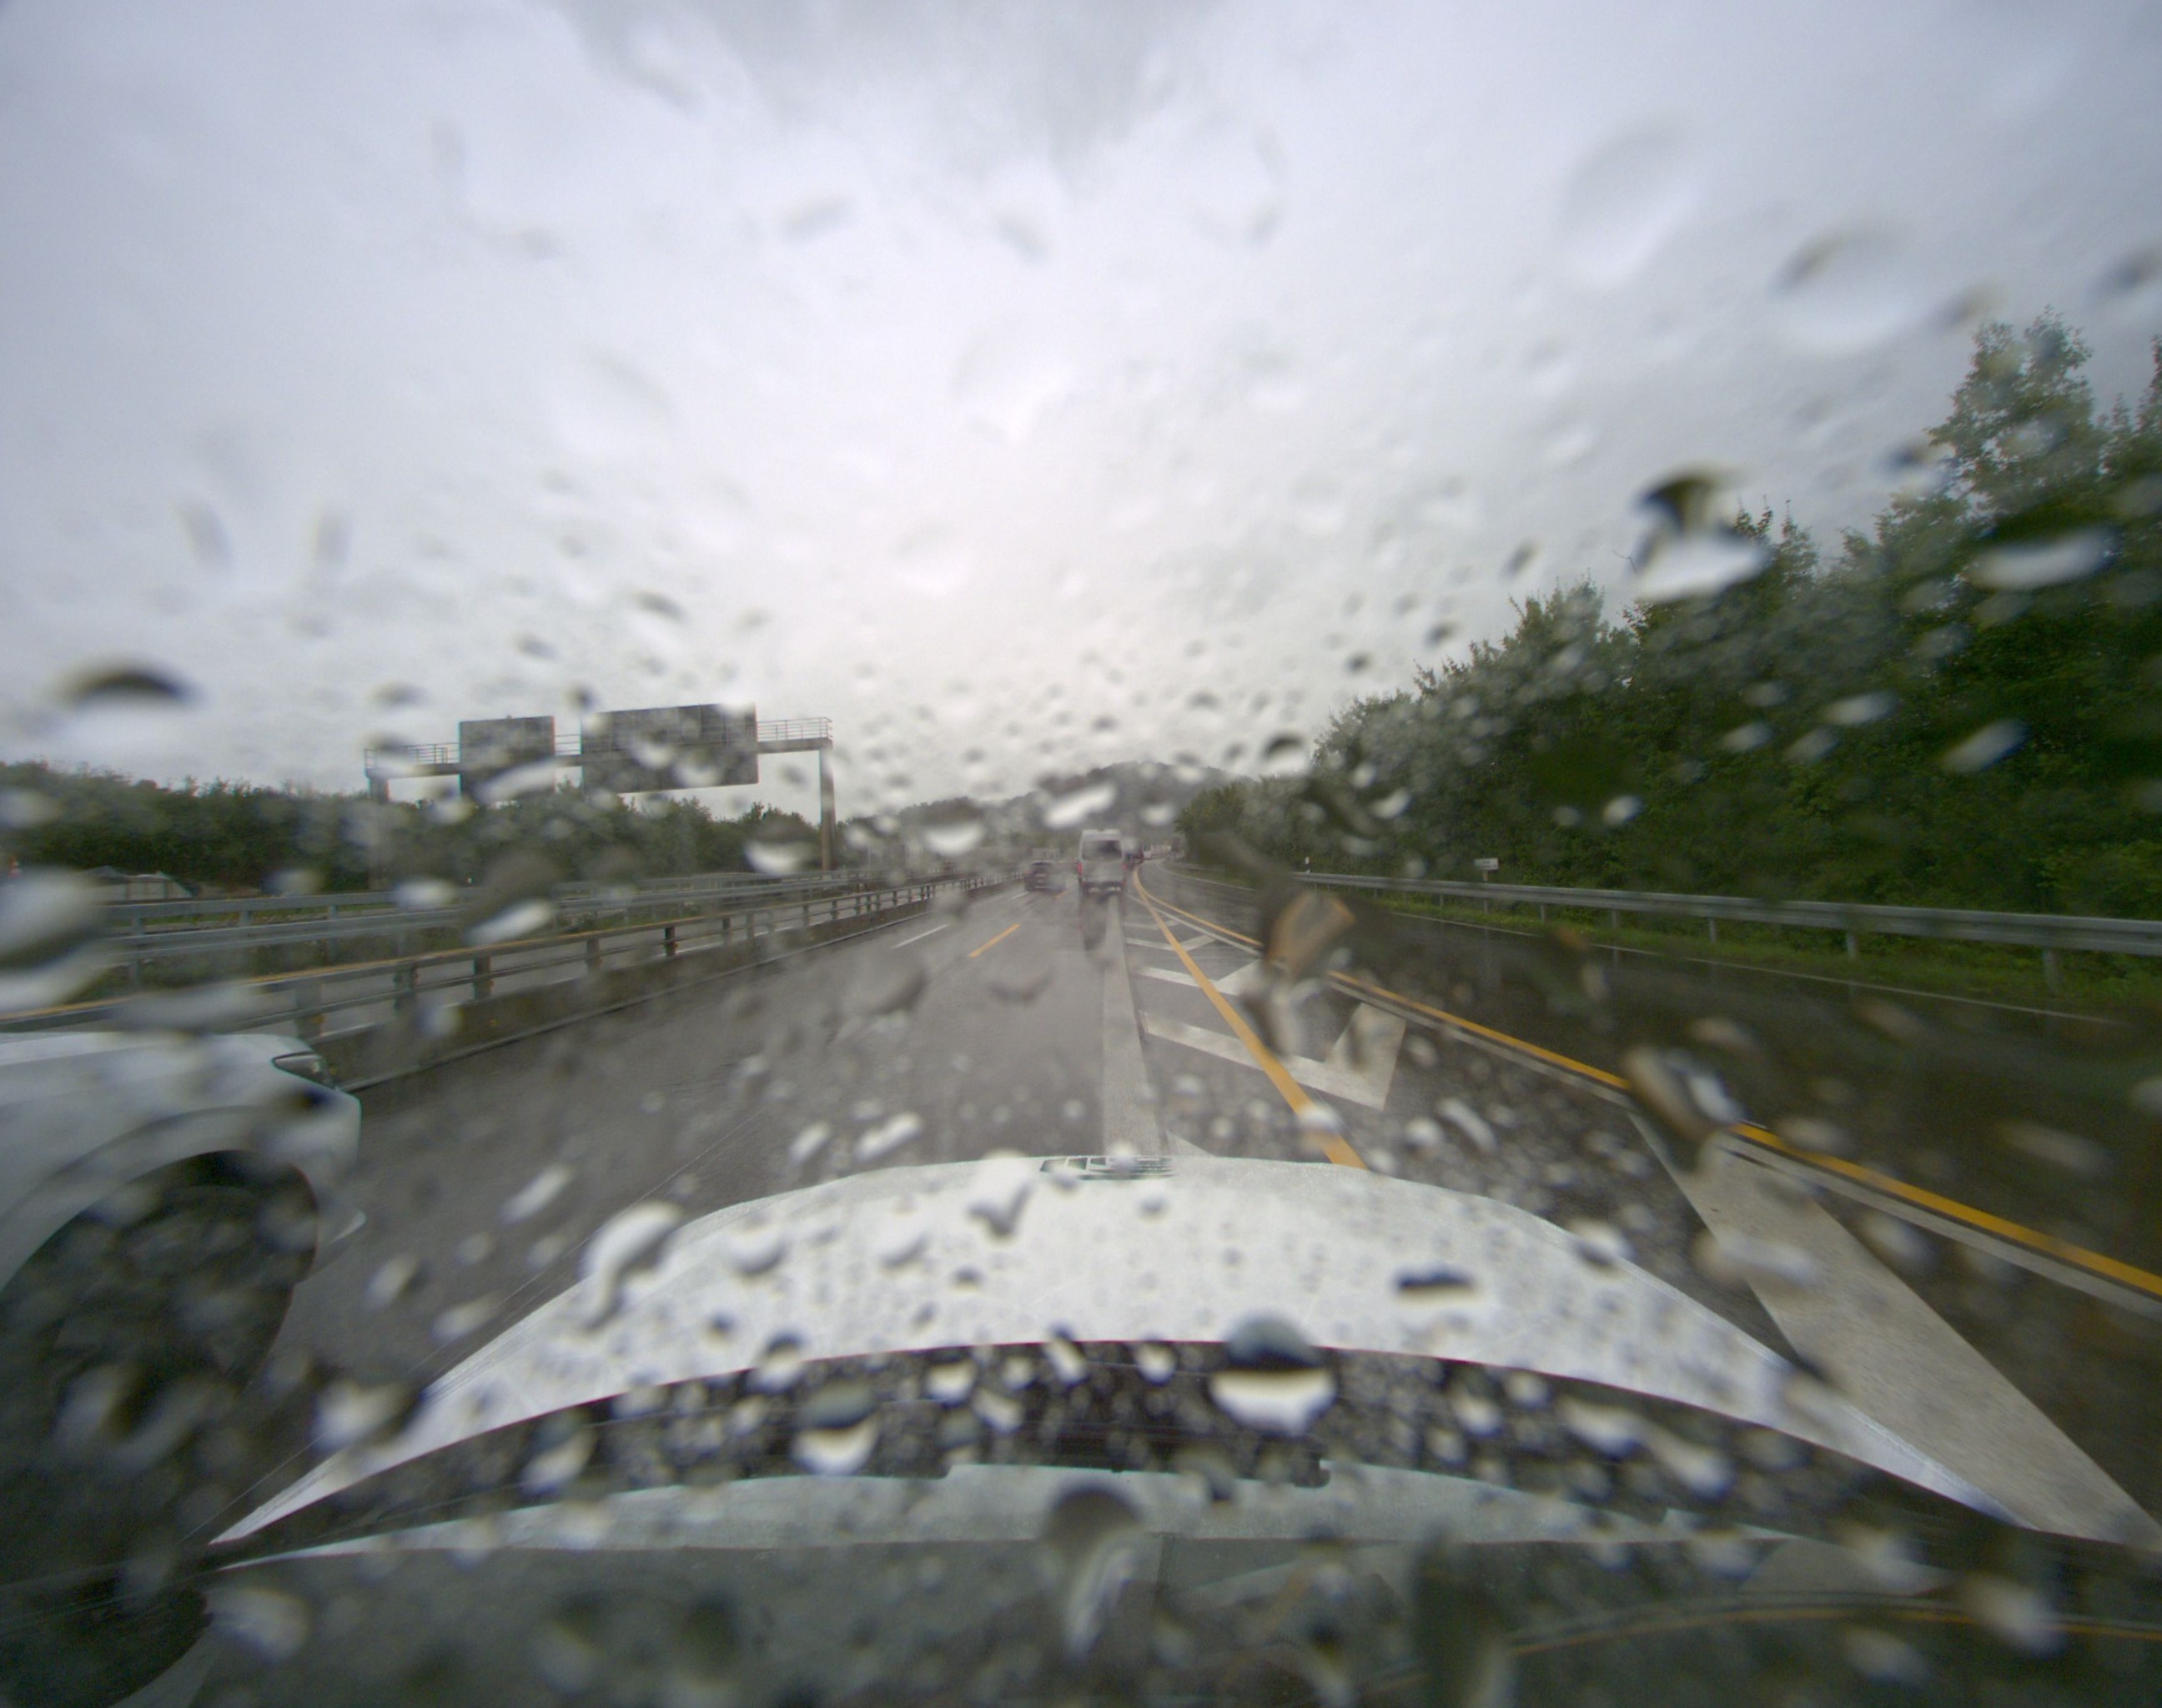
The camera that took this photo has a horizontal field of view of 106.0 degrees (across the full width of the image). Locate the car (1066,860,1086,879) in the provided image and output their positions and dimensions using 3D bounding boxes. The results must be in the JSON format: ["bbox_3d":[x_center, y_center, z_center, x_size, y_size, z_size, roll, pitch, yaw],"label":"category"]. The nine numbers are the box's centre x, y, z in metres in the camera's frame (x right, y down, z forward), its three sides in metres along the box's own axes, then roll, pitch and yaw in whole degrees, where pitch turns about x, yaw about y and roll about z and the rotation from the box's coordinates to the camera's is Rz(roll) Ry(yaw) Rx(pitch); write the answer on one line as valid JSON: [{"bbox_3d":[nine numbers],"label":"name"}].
[{"bbox_3d":[-0.398,1.403,73.495,1.701,1.627,4.000,0,-1,1],"label":"car"}]

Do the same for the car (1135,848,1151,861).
[{"bbox_3d":[14.394,0.199,188.052,2.880,2.887,6.430,-1,-1,11],"label":"car"}]

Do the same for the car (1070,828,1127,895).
[{"bbox_3d":[0.827,0.313,34.425,2.136,2.571,5.394,-1,-1,4],"label":"car"}]

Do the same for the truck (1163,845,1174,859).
[{"bbox_3d":[27.851,-0.641,259.754,2.881,4.406,9.648,-1,-1,9],"label":"truck"}]

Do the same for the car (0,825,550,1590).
[{"bbox_3d":[-3.308,0.749,1.033,1.986,1.617,4.798,0,-1,2],"label":"car"}]

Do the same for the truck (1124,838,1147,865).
[{"bbox_3d":[9.478,-0.378,140.933,3.564,4.406,9.638,-1,-1,5],"label":"truck"}]

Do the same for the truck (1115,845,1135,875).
[{"bbox_3d":[4.799,0.694,88.352,1.984,3.109,8.507,-1,-1,4],"label":"truck"}]

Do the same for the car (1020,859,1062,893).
[{"bbox_3d":[-1.893,1.017,39.634,1.941,1.561,3.998,0,-1,-1],"label":"car"}]

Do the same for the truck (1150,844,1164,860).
[{"bbox_3d":[21.077,-0.560,226.237,3.017,4.406,9.651,-1,-1,10],"label":"truck"}]
